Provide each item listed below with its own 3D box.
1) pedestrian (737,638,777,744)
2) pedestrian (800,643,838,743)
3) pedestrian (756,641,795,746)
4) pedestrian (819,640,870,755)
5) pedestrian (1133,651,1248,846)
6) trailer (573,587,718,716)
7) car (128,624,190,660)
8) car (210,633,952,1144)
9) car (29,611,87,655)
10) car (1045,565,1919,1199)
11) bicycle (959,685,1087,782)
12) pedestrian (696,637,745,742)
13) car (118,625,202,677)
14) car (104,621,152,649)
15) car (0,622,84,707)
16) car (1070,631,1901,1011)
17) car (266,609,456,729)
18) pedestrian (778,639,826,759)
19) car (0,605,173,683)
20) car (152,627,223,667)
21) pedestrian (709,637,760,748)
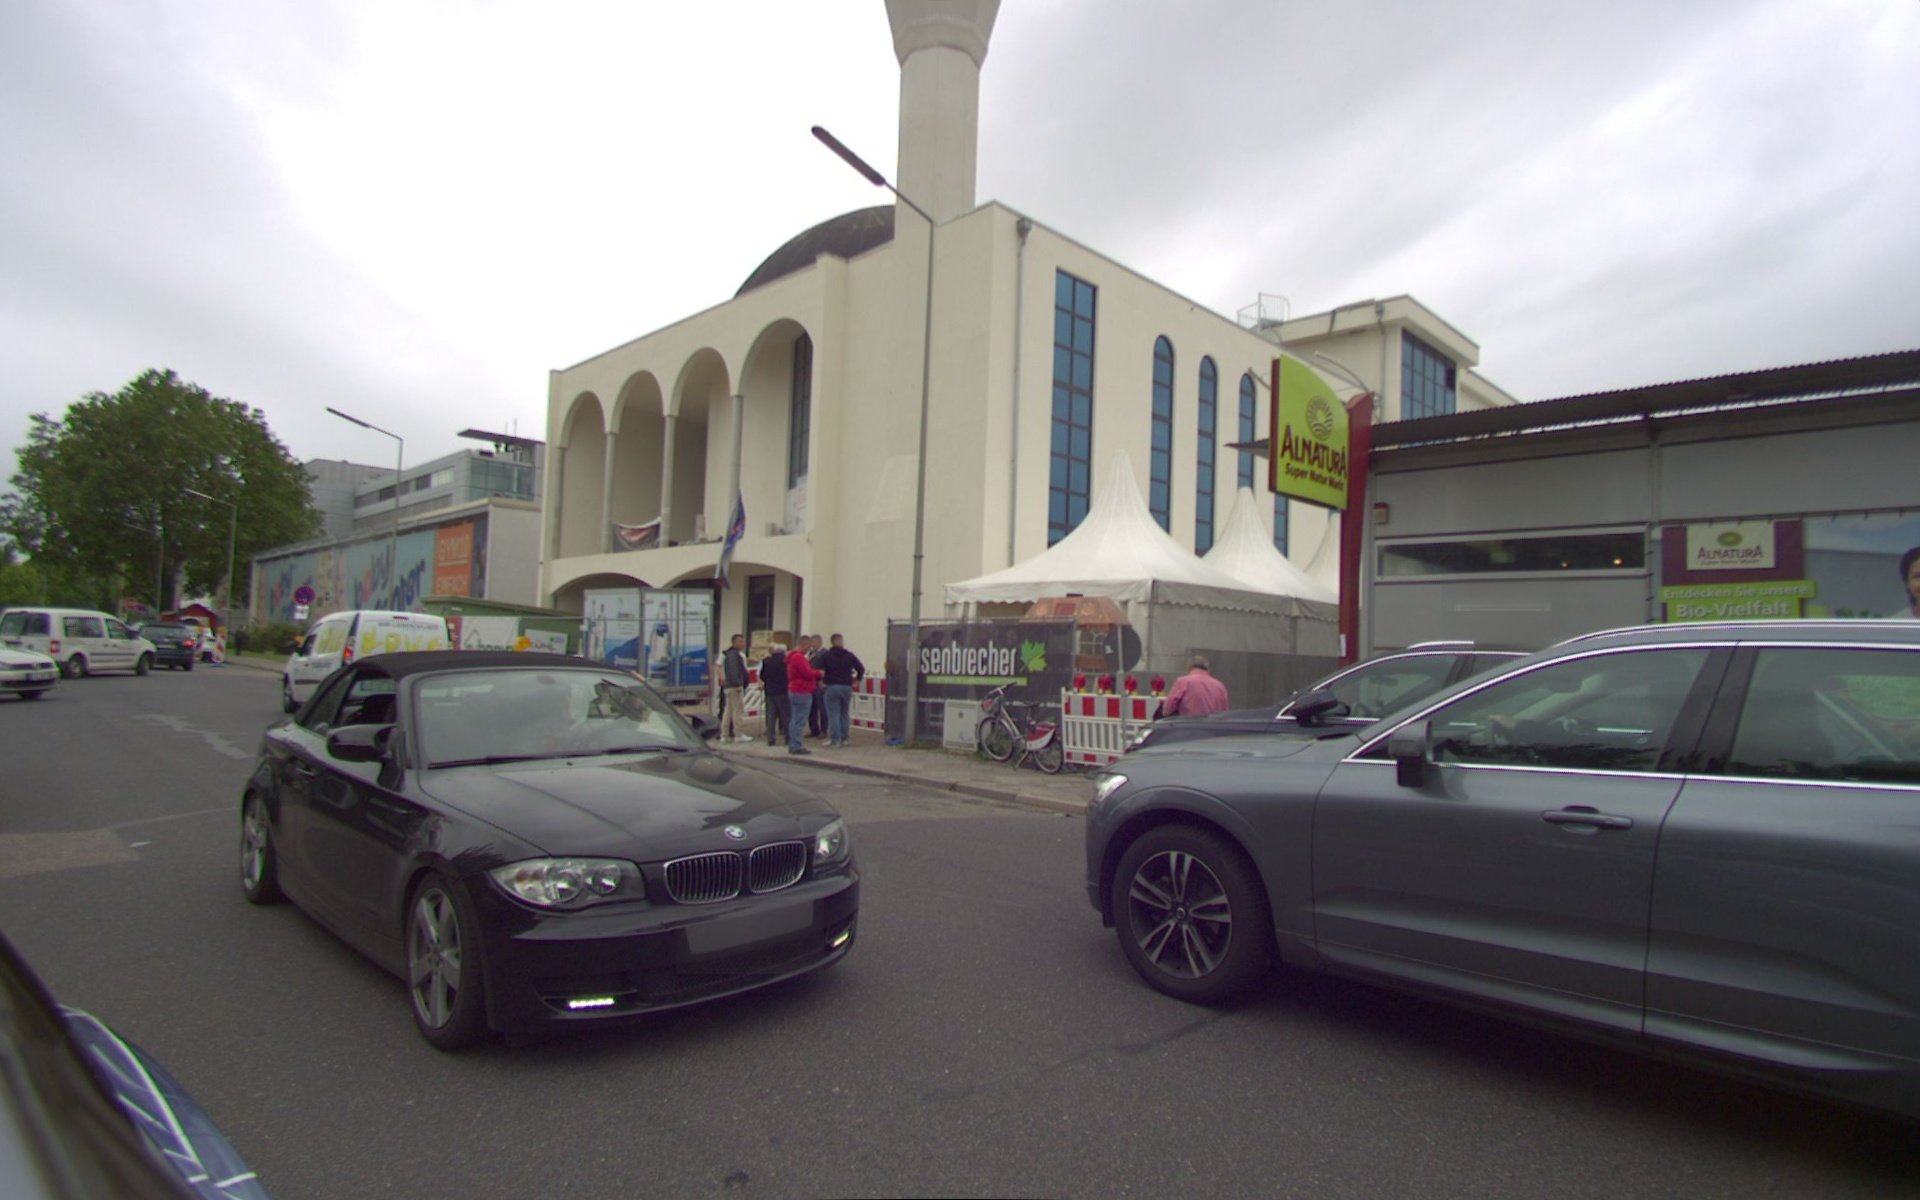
[{"bbox_3d":[-3.449,1.533,17.231,0.522,1.763,0.490,-2,-3,5],"label":"pedestrian"},{"bbox_3d":[-2.358,1.533,16.924,0.485,1.624,0.540,1,-2,5],"label":"pedestrian"},{"bbox_3d":[-2.935,1.474,16.122,0.563,1.624,0.491,-1,-3,-6],"label":"pedestrian"},{"bbox_3d":[-1.803,1.503,15.831,0.686,1.731,0.687,-2,-3,-1],"label":"pedestrian"},{"bbox_3d":[2.056,1.313,9.061,0.664,1.634,0.655,7,-6,-19],"label":"pedestrian"},{"bbox_3d":[-6.974,1.130,22.316,1.776,2.626,3.195,5,-5,-41],"label":"trailer"},{"bbox_3d":[-40.438,2.117,51.075,1.902,1.586,4.153,9,-7,-43],"label":"car"},{"bbox_3d":[-2.136,0.912,4.952,4.138,1.369,1.726,0,-3,44],"label":"car"},{"bbox_3d":[-45.647,1.645,51.188,1.904,2.029,4.959,5,-4,-44],"label":"car"},{"bbox_3d":[2.662,0.844,3.777,1.910,1.697,4.499,6,-5,-43],"label":"car"},{"bbox_3d":[0.801,1.737,13.491,0.537,1.086,1.905,4,-3,-38],"label":"bicycle"},{"bbox_3d":[-4.108,1.522,17.352,0.683,1.763,0.490,-2,-3,5],"label":"pedestrian"},{"bbox_3d":[-27.060,1.687,34.177,1.709,1.583,3.949,7,-6,-44],"label":"car"},{"bbox_3d":[-53.393,2.222,64.947,1.902,1.586,4.153,9,-7,-43],"label":"car"},{"bbox_3d":[-18.728,1.151,18.994,4.269,1.462,1.745,1,-2,23],"label":"car"},{"bbox_3d":[3.215,1.169,7.014,1.844,1.704,4.733,10,-8,-43],"label":"car"},{"bbox_3d":[-10.195,1.110,17.090,4.136,1.774,1.670,-1,-5,45],"label":"car"},{"bbox_3d":[-2.317,1.441,14.862,0.509,1.706,0.530,-2,-3,14],"label":"pedestrian"},{"bbox_3d":[-23.445,1.171,26.876,1.774,1.821,4.387,3,-3,-4],"label":"car"},{"bbox_3d":[-34.447,2.078,45.111,1.902,1.586,4.153,9,-7,-43],"label":"car"},{"bbox_3d":[-3.685,1.509,16.561,0.683,1.763,0.490,-2,-3,5],"label":"pedestrian"}]
